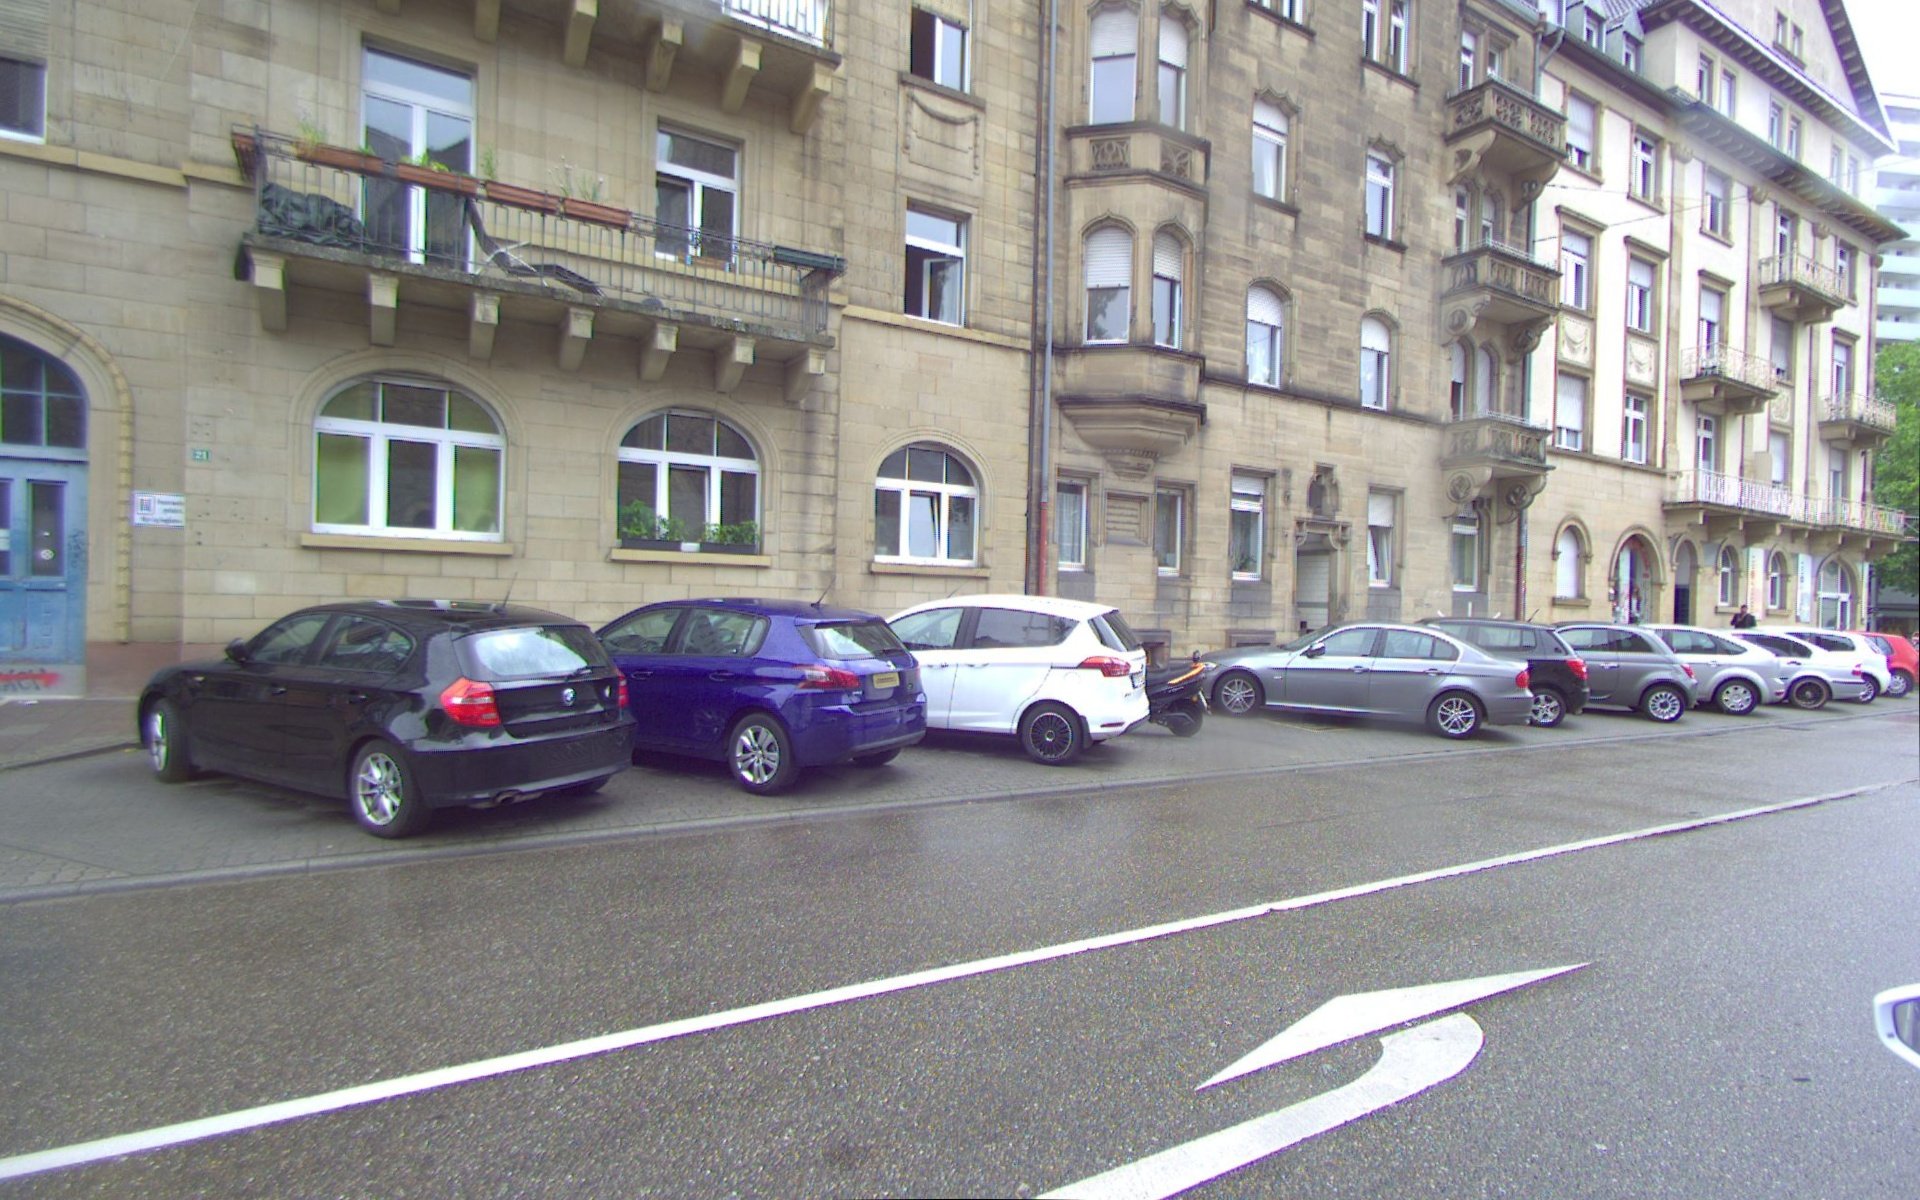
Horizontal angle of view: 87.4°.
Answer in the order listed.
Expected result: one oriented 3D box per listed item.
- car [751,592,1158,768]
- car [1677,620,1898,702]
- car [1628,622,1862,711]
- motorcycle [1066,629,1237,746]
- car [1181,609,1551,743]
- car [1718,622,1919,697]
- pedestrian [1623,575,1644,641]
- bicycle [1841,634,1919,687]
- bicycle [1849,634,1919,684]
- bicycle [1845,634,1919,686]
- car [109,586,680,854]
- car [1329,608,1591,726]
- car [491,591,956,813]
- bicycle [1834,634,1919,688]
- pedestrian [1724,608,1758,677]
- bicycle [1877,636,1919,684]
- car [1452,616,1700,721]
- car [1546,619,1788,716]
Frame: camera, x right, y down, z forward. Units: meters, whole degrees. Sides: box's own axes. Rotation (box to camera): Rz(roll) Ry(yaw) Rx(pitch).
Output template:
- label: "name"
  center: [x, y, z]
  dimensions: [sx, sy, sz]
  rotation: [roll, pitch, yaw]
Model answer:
- label: "car"
  center: [-0.017, 0.752, 10.734]
  dimensions: [3.964, 1.576, 1.799]
  rotation: [1, -1, 20]
- label: "car"
  center: [17.948, 1.273, 21.972]
  dimensions: [3.337, 1.578, 1.705]
  rotation: [1, 0, 21]
- label: "car"
  center: [15.670, 1.280, 20.257]
  dimensions: [3.337, 1.578, 1.705]
  rotation: [1, 0, 21]
- label: "motorcycle"
  center: [2.258, 0.995, 11.868]
  dimensions: [1.837, 1.177, 0.633]
  rotation: [3, 1, 23]
- label: "car"
  center: [5.409, 0.958, 13.873]
  dimensions: [4.457, 1.565, 1.689]
  rotation: [1, 0, 17]
- label: "car"
  center: [20.217, 1.363, 23.721]
  dimensions: [3.337, 1.578, 1.705]
  rotation: [1, 0, 21]
- label: "pedestrian"
  center: [19.118, 0.220, 28.509]
  dimensions: [0.343, 1.846, 0.364]
  rotation: [2, -1, -32]
- label: "bicycle"
  center: [23.953, 1.543, 25.900]
  dimensions: [0.492, 1.283, 1.801]
  rotation: [1, -1, -31]
- label: "bicycle"
  center: [25.224, 1.574, 27.095]
  dimensions: [0.601, 1.283, 1.754]
  rotation: [1, -1, -31]
- label: "bicycle"
  center: [24.469, 1.567, 26.360]
  dimensions: [0.492, 1.283, 1.801]
  rotation: [1, -1, -31]
- label: "car"
  center: [-4.237, 0.696, 7.479]
  dimensions: [3.969, 1.532, 1.796]
  rotation: [1, -1, 27]
- label: "car"
  center: [7.669, 0.976, 15.748]
  dimensions: [3.484, 1.619, 1.605]
  rotation: [1, 0, 21]
- label: "car"
  center: [-2.197, 0.753, 9.094]
  dimensions: [3.972, 1.594, 1.795]
  rotation: [1, -1, 31]
- label: "bicycle"
  center: [23.497, 1.539, 25.607]
  dimensions: [0.516, 1.283, 1.754]
  rotation: [1, -1, -31]
- label: "pedestrian"
  center: [23.324, 1.254, 30.001]
  dimensions: [0.647, 2.040, 0.565]
  rotation: [1, 0, -30]
- label: "bicycle"
  center: [26.128, 1.640, 27.252]
  dimensions: [0.601, 1.283, 1.754]
  rotation: [1, -1, -31]
- label: "car"
  center: [10.362, 1.098, 17.177]
  dimensions: [3.337, 1.578, 1.652]
  rotation: [1, 0, 21]
- label: "car"
  center: [12.962, 1.184, 18.657]
  dimensions: [3.337, 1.578, 1.705]
  rotation: [1, 0, 21]
